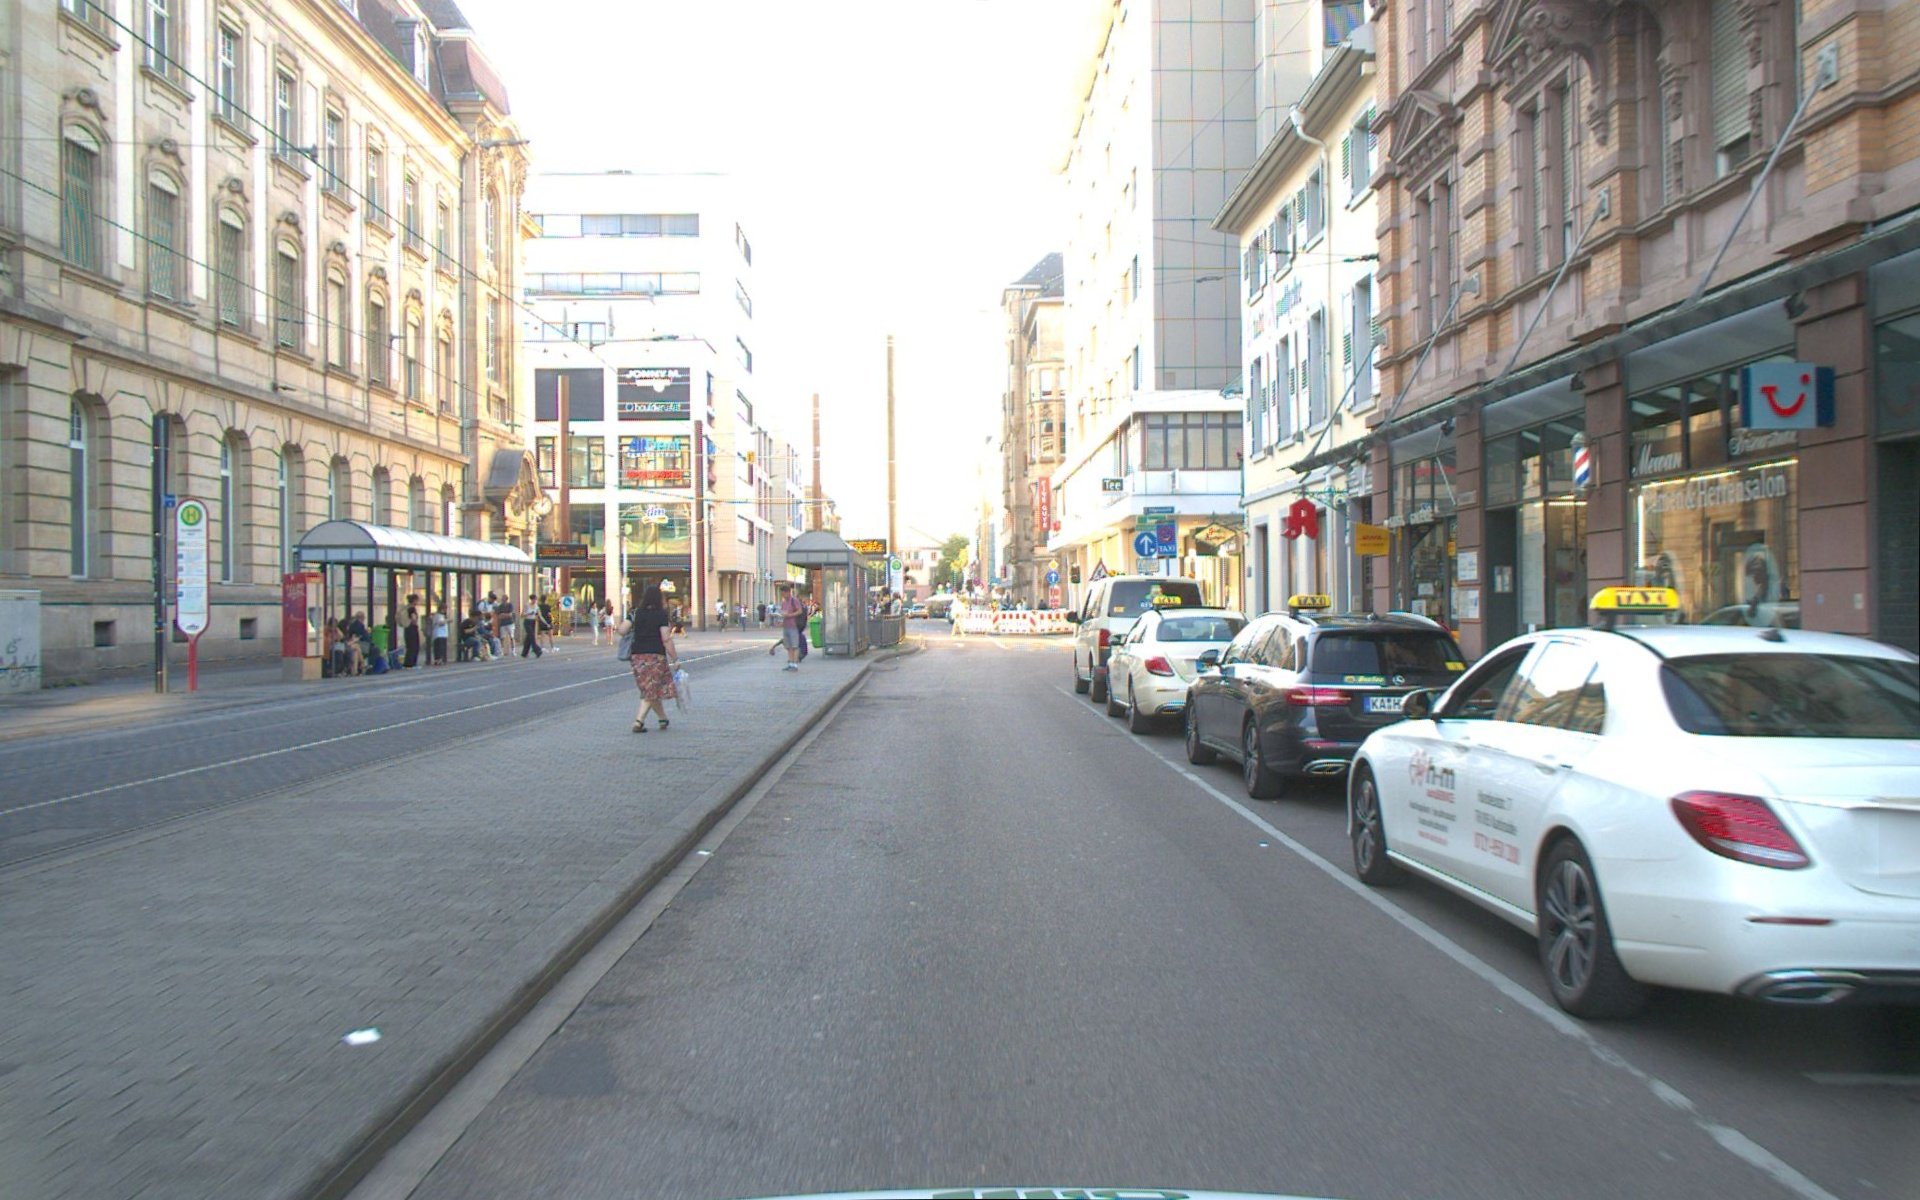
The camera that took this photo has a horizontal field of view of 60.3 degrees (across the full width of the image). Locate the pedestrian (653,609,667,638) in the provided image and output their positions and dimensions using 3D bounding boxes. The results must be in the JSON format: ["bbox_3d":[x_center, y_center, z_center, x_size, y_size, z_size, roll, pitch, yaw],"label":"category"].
[{"bbox_3d":[-15.180,1.175,83.779,0.625,1.445,0.418,0,-1,1],"label":"pedestrian"}]

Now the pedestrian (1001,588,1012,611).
[{"bbox_3d":[3.294,-0.034,118.322,0.697,1.639,0.821,1,-1,-4],"label":"pedestrian"}]

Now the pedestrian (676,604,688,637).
[{"bbox_3d":[-13.813,1.033,82.204,0.558,1.621,0.448,-1,-1,-4],"label":"pedestrian"}]

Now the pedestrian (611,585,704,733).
[{"bbox_3d":[-3.192,0.611,17.517,0.829,1.527,0.901,0,0,-2],"label":"pedestrian"}]

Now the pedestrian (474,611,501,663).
[{"bbox_3d":[-12.269,0.956,42.956,0.507,1.350,0.638,0,-1,2],"label":"pedestrian"}]

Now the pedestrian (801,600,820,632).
[{"bbox_3d":[-7.845,0.821,86.691,0.760,1.642,0.661,-1,-1,-27],"label":"pedestrian"}]

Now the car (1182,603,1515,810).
[{"bbox_3d":[3.177,0.812,14.549,1.691,1.503,4.819,1,-1,-1],"label":"car"}]

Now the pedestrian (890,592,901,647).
[{"bbox_3d":[-2.166,0.664,55.389,0.335,1.827,0.544,1,-1,-3],"label":"pedestrian"}]

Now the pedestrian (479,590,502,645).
[{"bbox_3d":[-15.685,0.584,55.272,0.608,1.807,0.705,0,0,-5],"label":"pedestrian"}]

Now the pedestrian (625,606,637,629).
[{"bbox_3d":[-22.540,1.197,113.265,0.560,1.553,0.791,0,-1,11],"label":"pedestrian"}]

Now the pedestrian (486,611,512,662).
[{"bbox_3d":[-12.213,0.968,43.828,0.507,1.350,0.638,0,-1,2],"label":"pedestrian"}]

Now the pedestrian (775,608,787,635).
[{"bbox_3d":[-11.833,1.422,109.156,0.766,1.782,0.599,1,-1,-4],"label":"pedestrian"}]

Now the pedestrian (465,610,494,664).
[{"bbox_3d":[-12.253,0.947,42.188,0.507,1.350,0.638,0,-1,2],"label":"pedestrian"}]

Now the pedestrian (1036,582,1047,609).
[{"bbox_3d":[5.121,-0.278,103.769,0.612,1.719,0.671,-1,-1,-3],"label":"pedestrian"}]

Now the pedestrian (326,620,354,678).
[{"bbox_3d":[-12.250,0.963,32.670,0.357,1.122,0.430,0,-1,5],"label":"pedestrian"}]

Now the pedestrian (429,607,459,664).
[{"bbox_3d":[-12.344,0.848,39.576,0.507,1.350,0.638,0,-1,2],"label":"pedestrian"}]

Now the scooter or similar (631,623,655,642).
[{"bbox_3d":[-15.985,1.634,83.425,1.071,0.920,0.890,-1,0,0],"label":"scooter or similar"}]

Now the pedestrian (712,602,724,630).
[{"bbox_3d":[-16.134,1.066,110.219,0.560,1.887,0.817,0,-1,11],"label":"pedestrian"}]

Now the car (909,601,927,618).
[{"bbox_3d":[-4.783,1.100,187.856,1.953,1.937,3.998,1,-1,-2],"label":"car"}]

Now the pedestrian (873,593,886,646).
[{"bbox_3d":[-2.565,0.624,52.559,0.378,1.671,0.549,1,-1,-3],"label":"pedestrian"}]

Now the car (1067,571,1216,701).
[{"bbox_3d":[2.943,0.585,27.791,1.839,1.957,4.698,2,-1,-1],"label":"car"}]

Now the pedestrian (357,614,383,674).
[{"bbox_3d":[-12.165,0.912,34.104,0.357,1.221,0.430,0,-1,5],"label":"pedestrian"}]

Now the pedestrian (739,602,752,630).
[{"bbox_3d":[-13.129,0.991,101.139,0.635,1.703,0.530,-1,-1,7],"label":"pedestrian"}]

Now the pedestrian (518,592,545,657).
[{"bbox_3d":[-11.474,0.655,44.282,0.662,1.721,0.636,0,-1,-12],"label":"pedestrian"}]

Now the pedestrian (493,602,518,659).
[{"bbox_3d":[-12.880,0.855,46.875,0.507,1.597,0.638,0,-1,2],"label":"pedestrian"}]

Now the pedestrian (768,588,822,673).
[{"bbox_3d":[-3.293,0.595,32.991,0.675,1.666,0.857,-1,-1,39],"label":"pedestrian"}]

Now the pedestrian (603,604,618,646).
[{"bbox_3d":[-13.137,0.934,62.163,0.517,1.552,0.500,0,-1,-15],"label":"pedestrian"}]

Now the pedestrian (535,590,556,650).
[{"bbox_3d":[-12.518,0.594,49.963,0.548,1.807,0.468,0,0,-5],"label":"pedestrian"}]

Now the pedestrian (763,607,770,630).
[{"bbox_3d":[-12.679,1.213,108.531,0.382,1.541,0.505,-1,-1,-3],"label":"pedestrian"}]

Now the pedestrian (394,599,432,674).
[{"bbox_3d":[-12.235,0.817,37.010,0.507,1.679,0.638,-1,-1,21],"label":"pedestrian"}]

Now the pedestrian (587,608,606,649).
[{"bbox_3d":[-13.785,1.070,62.720,0.507,1.552,0.502,0,-1,17],"label":"pedestrian"}]

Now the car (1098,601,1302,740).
[{"bbox_3d":[2.913,0.800,21.090,1.769,1.509,4.777,2,0,-1],"label":"car"}]

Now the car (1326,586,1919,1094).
[{"bbox_3d":[3.141,0.781,7.515,1.697,1.537,4.863,2,-1,-2],"label":"car"}]

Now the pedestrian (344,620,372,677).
[{"bbox_3d":[-12.108,0.972,33.259,0.357,1.122,0.430,0,-1,5],"label":"pedestrian"}]

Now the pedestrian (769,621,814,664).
[{"bbox_3d":[-3.873,0.971,38.026,0.781,0.955,0.693,0,0,22],"label":"pedestrian"}]

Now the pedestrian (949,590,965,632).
[{"bbox_3d":[-0.123,0.485,72.817,0.685,1.847,0.852,1,-1,0],"label":"pedestrian"}]

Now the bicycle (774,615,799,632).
[{"bbox_3d":[-12.123,1.643,115.438,1.661,1.141,0.451,1,-1,1],"label":"bicycle"}]

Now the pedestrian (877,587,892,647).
[{"bbox_3d":[-2.261,0.508,49.558,0.404,1.798,0.594,1,-1,-3],"label":"pedestrian"}]

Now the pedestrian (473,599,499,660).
[{"bbox_3d":[-13.207,0.825,46.102,0.507,1.674,0.638,0,-1,2],"label":"pedestrian"}]

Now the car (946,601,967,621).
[{"bbox_3d":[-0.297,0.956,143.365,1.645,1.641,4.026,-2,-1,-2],"label":"car"}]
